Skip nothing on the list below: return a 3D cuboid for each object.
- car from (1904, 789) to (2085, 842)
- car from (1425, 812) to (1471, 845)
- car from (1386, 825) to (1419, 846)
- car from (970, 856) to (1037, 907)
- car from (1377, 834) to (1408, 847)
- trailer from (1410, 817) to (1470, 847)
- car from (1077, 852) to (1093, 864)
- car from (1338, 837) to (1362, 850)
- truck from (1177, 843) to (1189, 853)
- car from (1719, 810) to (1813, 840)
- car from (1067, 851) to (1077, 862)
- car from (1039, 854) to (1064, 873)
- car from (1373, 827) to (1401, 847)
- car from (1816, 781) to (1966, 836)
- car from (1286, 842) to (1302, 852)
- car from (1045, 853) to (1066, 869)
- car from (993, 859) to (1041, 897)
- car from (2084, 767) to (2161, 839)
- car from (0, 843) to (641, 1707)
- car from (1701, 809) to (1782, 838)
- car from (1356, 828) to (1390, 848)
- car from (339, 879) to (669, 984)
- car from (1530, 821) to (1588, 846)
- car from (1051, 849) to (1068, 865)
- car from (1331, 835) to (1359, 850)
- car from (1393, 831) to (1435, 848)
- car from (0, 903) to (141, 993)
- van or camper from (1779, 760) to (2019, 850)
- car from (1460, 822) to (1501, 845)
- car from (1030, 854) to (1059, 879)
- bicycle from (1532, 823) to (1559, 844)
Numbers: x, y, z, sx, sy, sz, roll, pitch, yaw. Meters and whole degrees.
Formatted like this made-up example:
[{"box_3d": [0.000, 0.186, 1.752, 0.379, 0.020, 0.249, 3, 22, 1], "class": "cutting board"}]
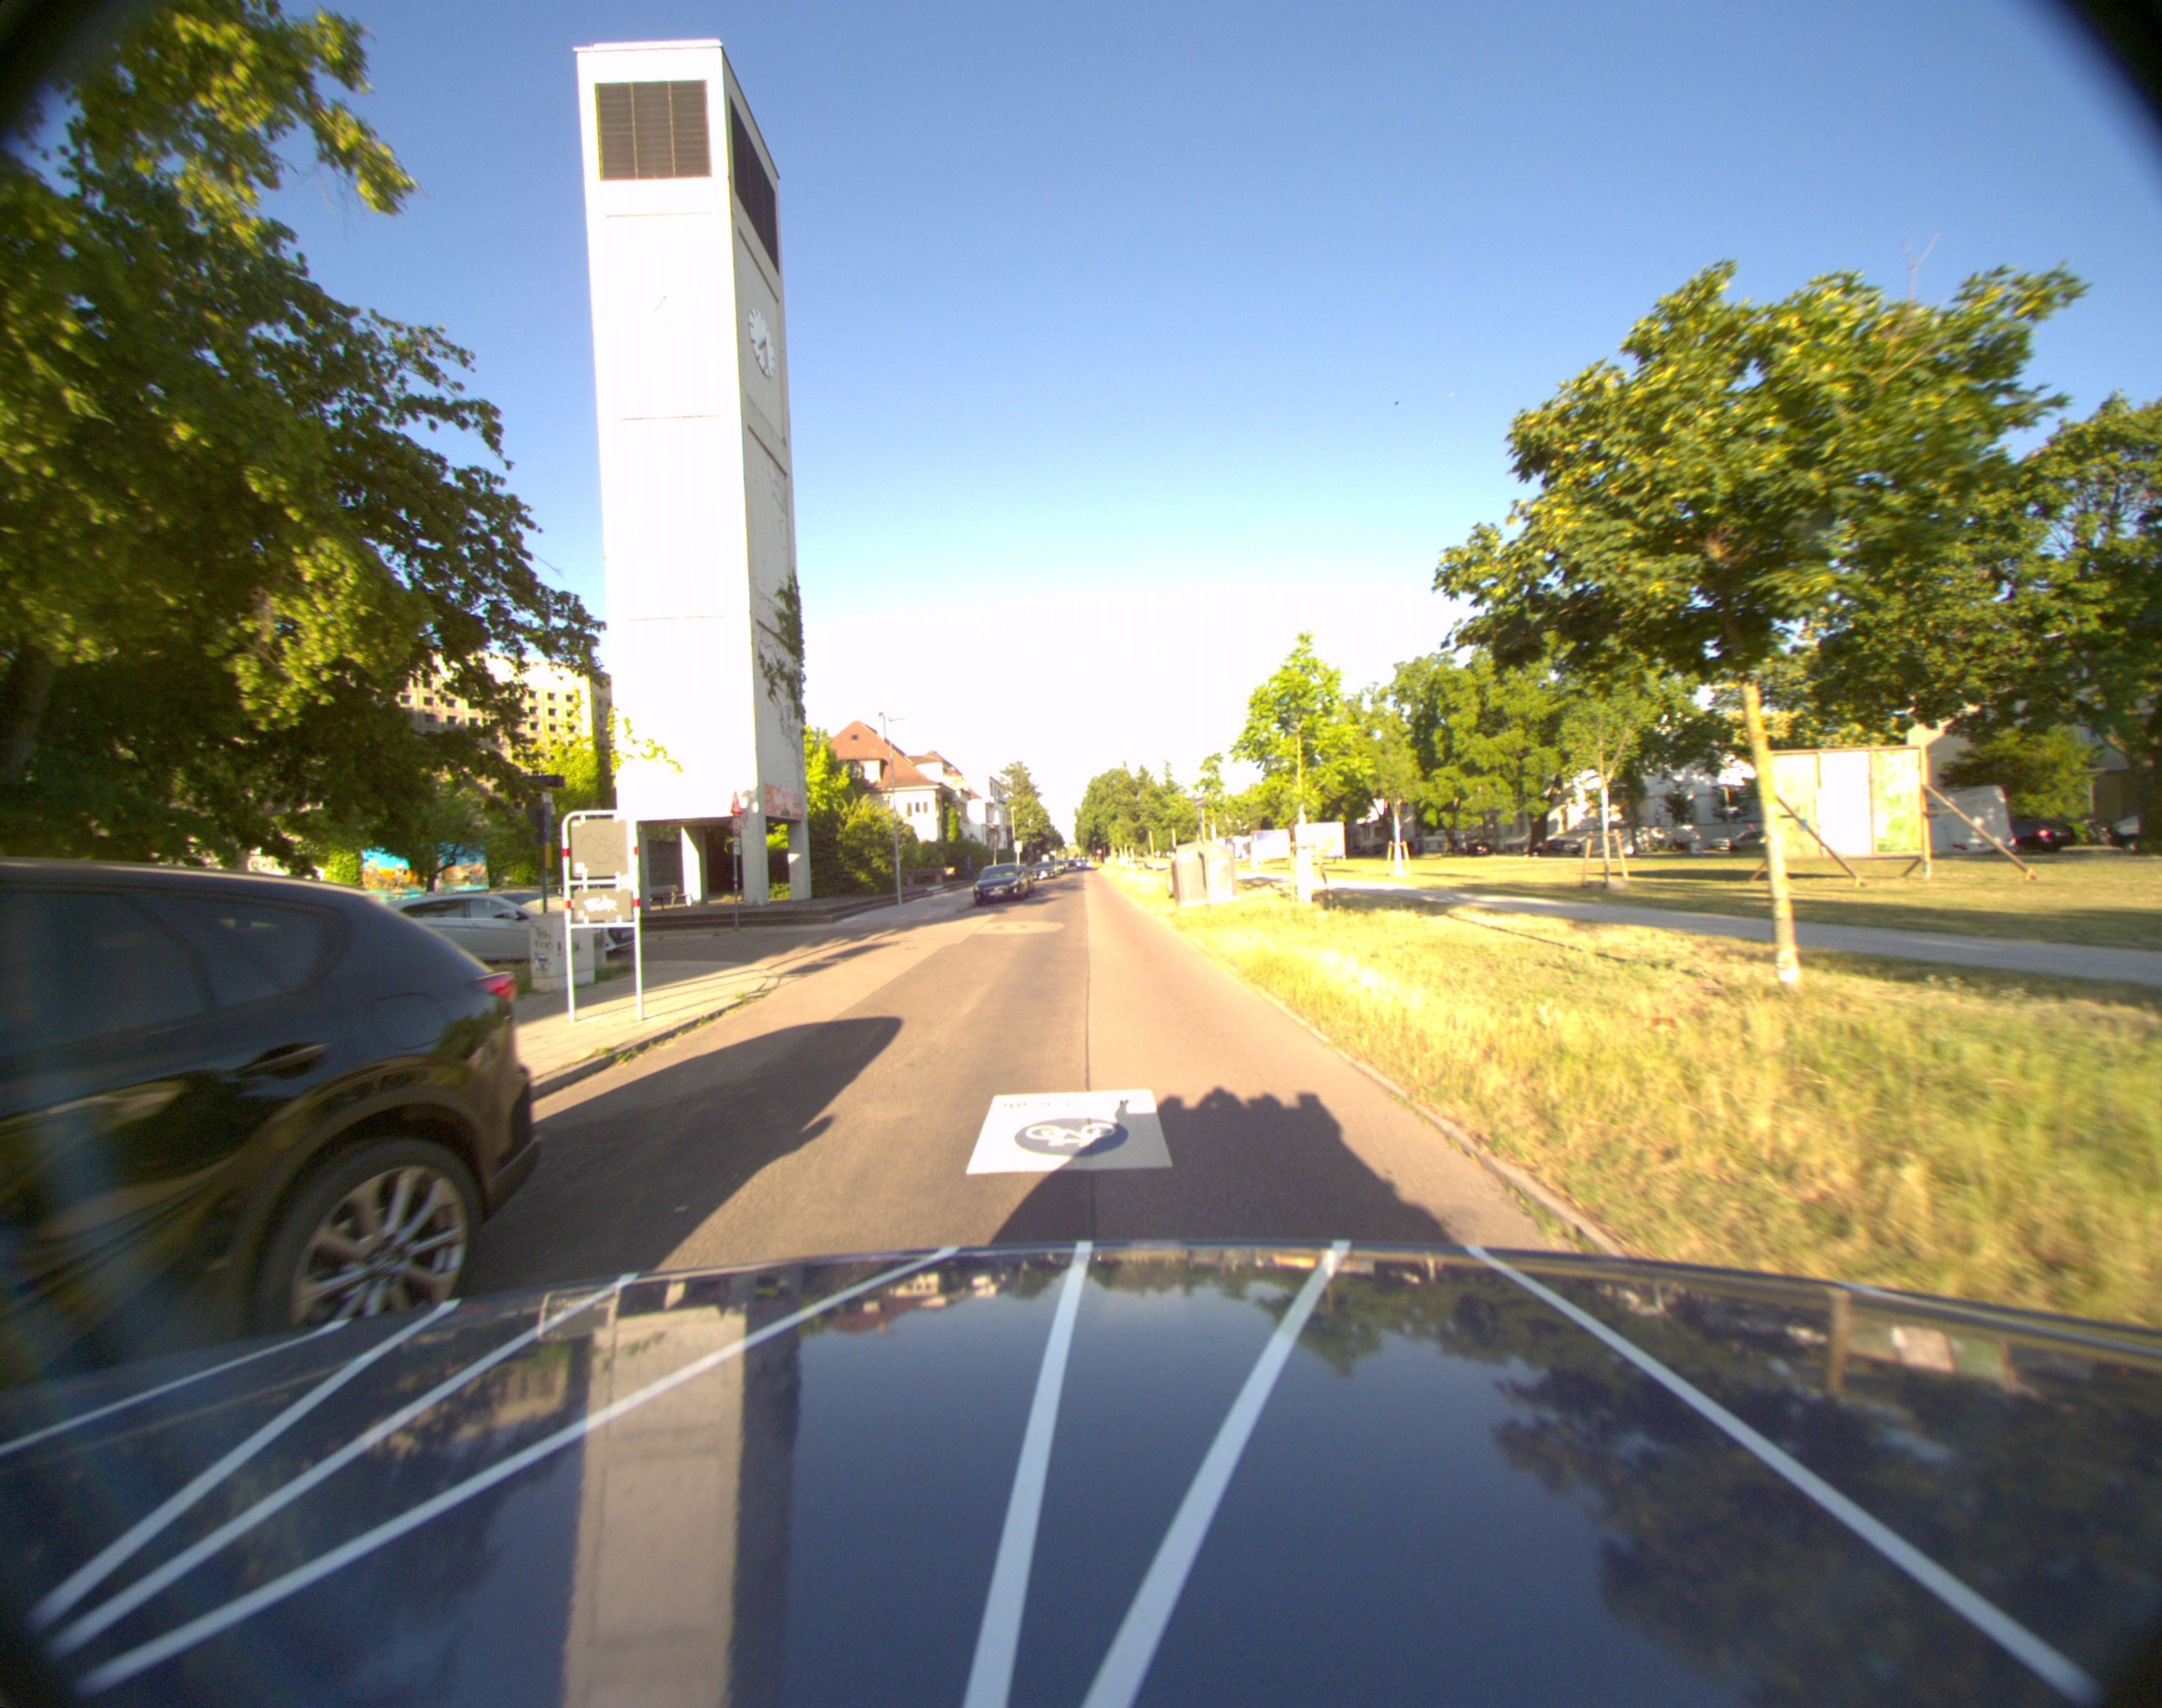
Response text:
[{"box_3d": [40.176, -1.627, 33.670, 1.974, 1.993, 5.049, -3, 0, 1], "class": "car"}, {"box_3d": [40.015, -2.739, 83.076, 1.998, 3.230, 6.075, -3, 0, 0], "class": "car"}, {"box_3d": [40.208, -2.326, 95.041, 1.950, 2.625, 5.043, 1, 1, 1], "class": "car"}, {"box_3d": [-2.904, 0.996, 29.420, 1.827, 1.552, 4.621, -9, 0, 1], "class": "car"}, {"box_3d": [34.232, -1.496, 83.630, 1.857, 1.308, 4.042, -4, 1, 3], "class": "car"}, {"box_3d": [34.126, -2.074, 72.516, 2.480, 2.644, 6.634, 1, 1, 0], "class": "trailer"}, {"box_3d": [0.574, 0.473, 103.676, 1.998, 1.483, 3.999, -3, 1, 0], "class": "car"}, {"box_3d": [40.215, -1.601, 113.667, 1.624, 1.814, 4.287, -3, 0, -4], "class": "car"}, {"box_3d": [34.794, -2.062, 258.792, 2.785, 3.128, 7.710, -3, 0, -1], "class": "truck"}, {"box_3d": [40.200, -1.660, 44.714, 1.999, 1.534, 3.809, -3, 0, -1], "class": "car"}, {"box_3d": [-1.955, 0.542, 163.465, 1.998, 2.179, 4.000, -3, 0, 1], "class": "car"}, {"box_3d": [-2.784, 0.879, 72.725, 1.888, 1.528, 4.461, -6, 1, 2], "class": "car"}, {"box_3d": [40.172, -2.299, 99.903, 1.998, 2.527, 3.998, -3, 2, 1], "class": "car"}, {"box_3d": [33.968, -1.844, 32.048, 1.998, 2.002, 4.000, -3, 0, 1], "class": "car"}, {"box_3d": [34.686, -1.172, 123.620, 1.894, 1.513, 3.681, -2, 0, 6], "class": "car"}, {"box_3d": [-2.752, 0.762, 83.071, 1.916, 1.550, 4.567, -7, -1, 1], "class": "car"}, {"box_3d": [-2.984, 1.096, 36.130, 1.692, 1.519, 4.175, -7, 0, 1], "class": "car"}, {"box_3d": [40.412, -1.834, 26.768, 1.998, 2.583, 6.088, 1, 1, 0], "class": "car"}, {"box_3d": [-3.019, 0.933, 0.960, 1.837, 1.722, 5.031, -5, 1, 0], "class": "car"}, {"box_3d": [49.657, -2.268, 57.177, 4.525, 1.889, 1.980, -3, 1, -4], "class": "car"}, {"box_3d": [34.279, -1.845, 89.213, 1.999, 2.161, 4.570, -3, 0, -2], "class": "car"}, {"box_3d": [-11.235, 1.473, 15.088, 4.859, 1.478, 2.001, -4, 4, 0], "class": "car"}, {"box_3d": [40.174, -1.723, 64.006, 1.894, 1.901, 4.714, -3, 0, 1], "class": "car"}, {"box_3d": [-2.738, 0.330, 97.239, 1.806, 1.639, 4.582, -8, 2, -1], "class": "car"}, {"box_3d": [34.435, -1.453, 99.264, 1.999, 1.718, 4.344, -3, 0, -1], "class": "car"}, {"box_3d": [34.314, -1.490, 78.372, 1.999, 1.632, 4.950, -4, 1, -1], "class": "car"}, {"box_3d": [-21.852, 1.920, 15.004, 4.125, 1.501, 2.000, -4, 1, 3], "class": "car"}, {"box_3d": [33.968, -1.844, 32.048, 2.648, 3.243, 6.904, -3, 0, 1], "class": "van or camper"}, {"box_3d": [40.090, -2.032, 76.289, 1.998, 2.142, 4.000, -3, 0, 1], "class": "car"}, {"box_3d": [-2.877, 0.974, 61.635, 1.999, 1.588, 4.885, -7, 1, -1], "class": "car"}, {"box_3d": [31.096, -1.325, 50.895, 0.512, 1.334, 2.331, -3, 0, 4], "class": "bicycle"}]
